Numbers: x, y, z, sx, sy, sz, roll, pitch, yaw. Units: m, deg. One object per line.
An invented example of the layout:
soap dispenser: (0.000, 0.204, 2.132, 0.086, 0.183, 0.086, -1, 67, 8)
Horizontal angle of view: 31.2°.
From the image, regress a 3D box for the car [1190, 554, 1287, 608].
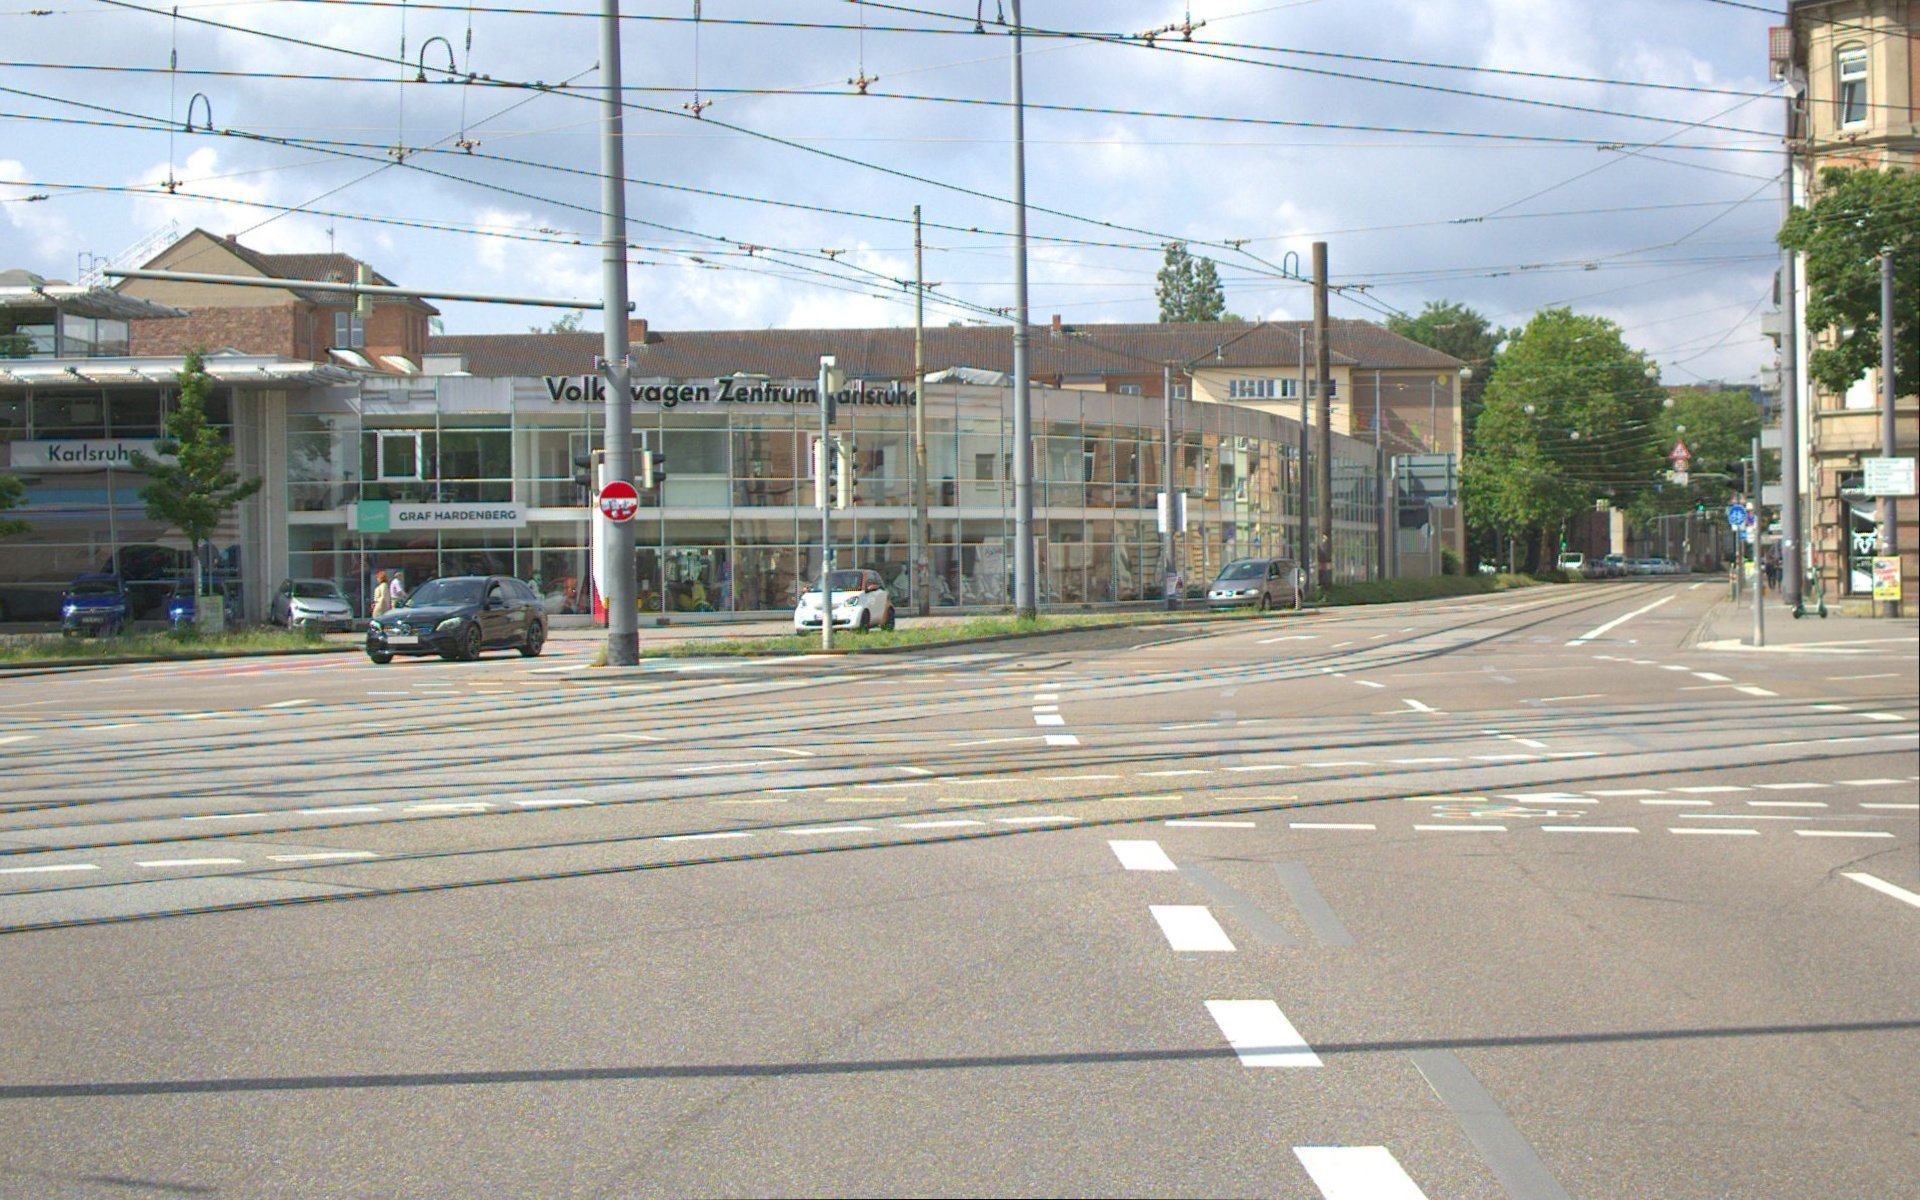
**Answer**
car: (8.316, -0.571, 102.392, 1.995, 1.568, 3.733, 0, 1, 19)

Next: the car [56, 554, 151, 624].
car: (-23.519, -0.289, 94.520, 1.993, 1.831, 4.001, -1, 0, -6)

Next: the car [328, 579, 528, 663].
car: (-9.094, 0.346, 59.044, 1.866, 1.371, 3.937, 0, 1, 17)

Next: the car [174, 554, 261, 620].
car: (-20.344, -0.340, 94.289, 1.993, 1.720, 4.001, 1, 0, -8)

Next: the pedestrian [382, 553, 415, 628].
pedestrian: (-15.227, -0.254, 93.236, 0.869, 2.007, 0.704, -1, 0, -10)

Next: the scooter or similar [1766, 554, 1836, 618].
scooter or similar: (18.744, -0.301, 76.681, 1.177, 1.381, 2.803, 1, 0, 7)

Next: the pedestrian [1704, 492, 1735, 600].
pedestrian: (22.278, -1.579, 100.834, 0.667, 3.110, 0.887, 1, -1, 23)

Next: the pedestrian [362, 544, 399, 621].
pedestrian: (-15.270, -0.456, 90.574, 0.807, 2.007, 0.808, -1, 0, 1)

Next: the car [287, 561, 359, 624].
car: (-17.838, -0.209, 96.207, 1.928, 1.678, 4.001, 1, 0, -11)

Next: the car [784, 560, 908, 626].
car: (-2.638, -0.156, 80.504, 1.687, 1.465, 3.653, 1, 0, 19)

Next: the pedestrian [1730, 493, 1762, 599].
pedestrian: (22.990, -1.568, 100.493, 0.725, 3.065, 0.887, 1, -1, 23)
